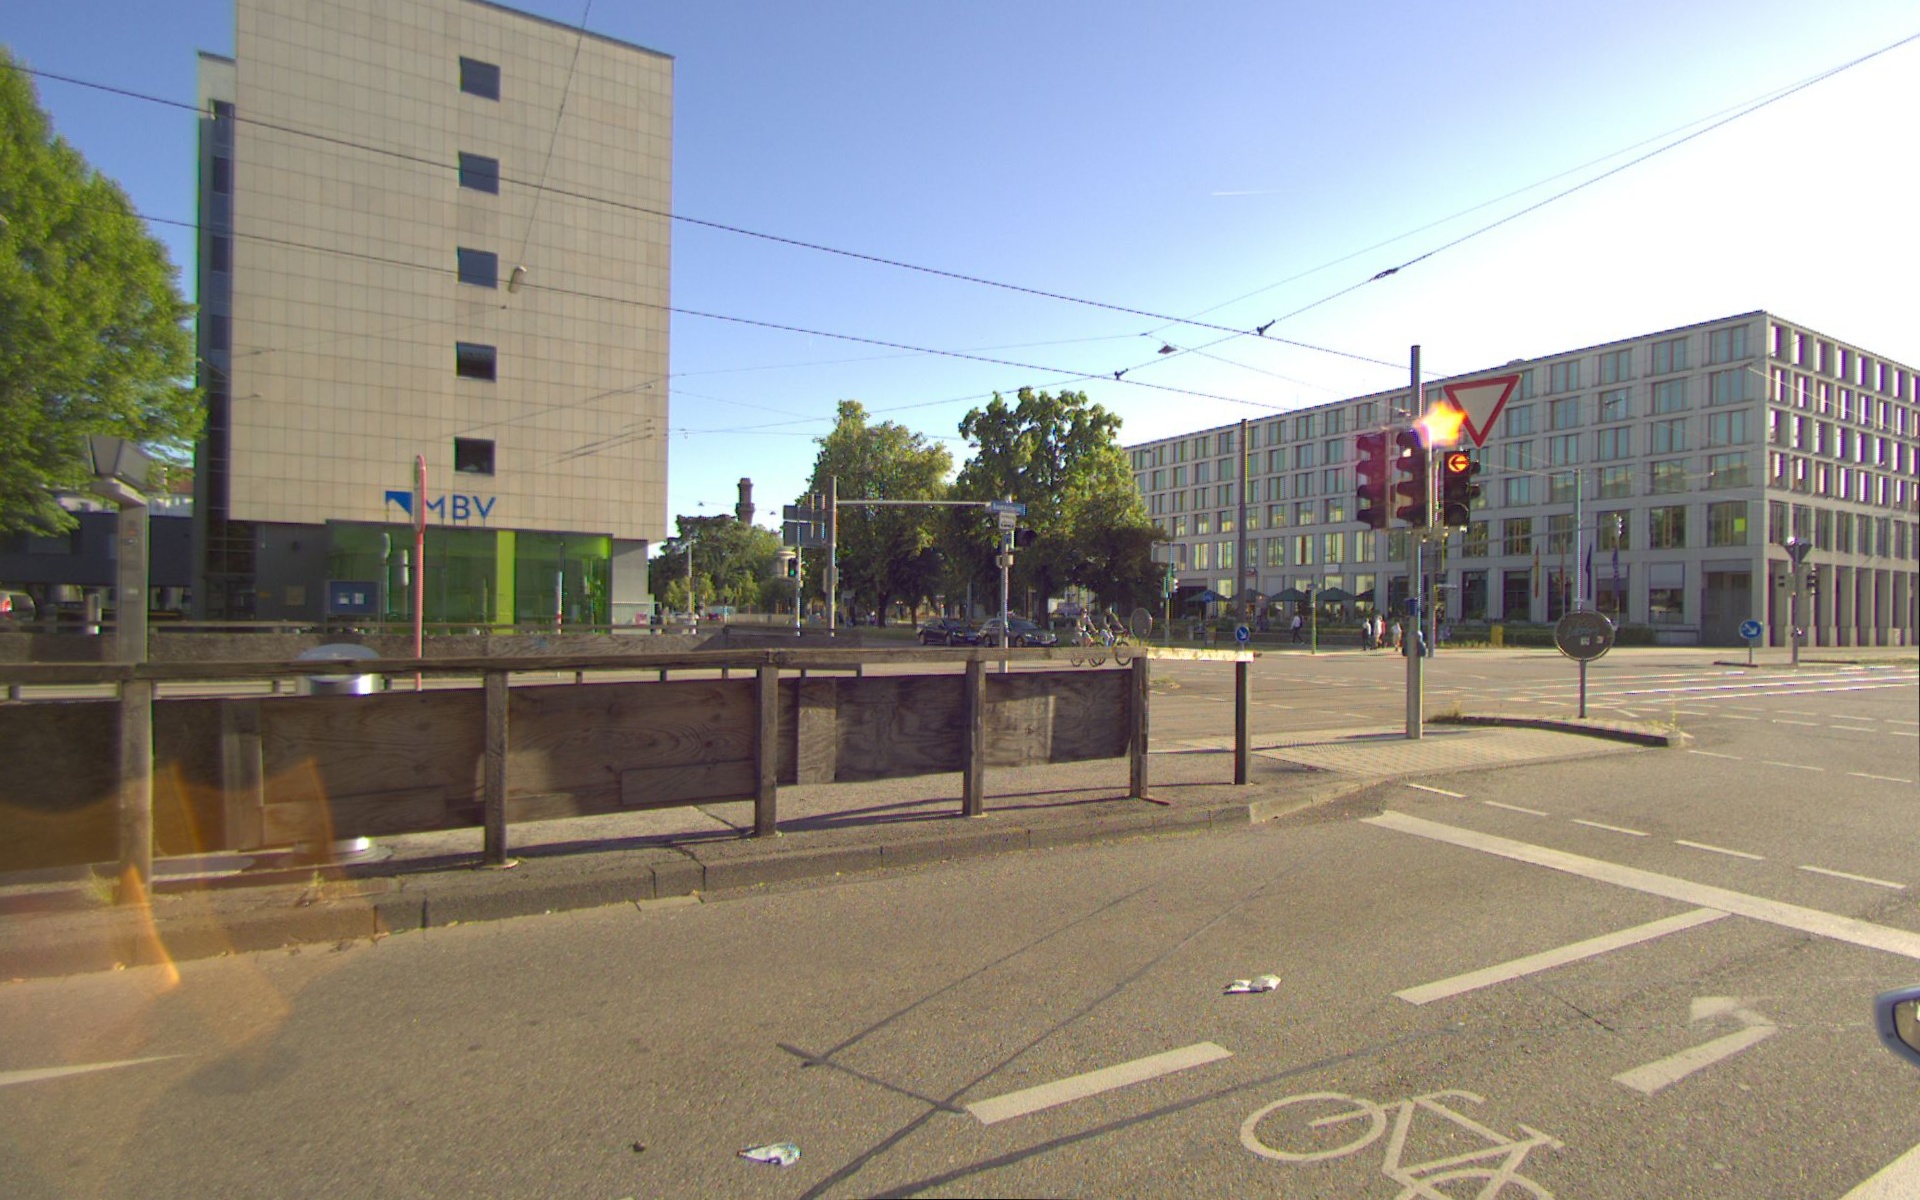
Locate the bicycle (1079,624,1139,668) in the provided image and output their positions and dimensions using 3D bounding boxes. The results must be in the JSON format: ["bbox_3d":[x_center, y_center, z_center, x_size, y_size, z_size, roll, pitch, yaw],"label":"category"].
[{"bbox_3d":[4.620,1.423,31.362,0.783,1.308,1.975,1,-1,-31],"label":"bicycle"}]

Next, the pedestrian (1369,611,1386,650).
[{"bbox_3d":[22.233,1.619,53.483,0.793,2.040,0.526,1,-1,-36],"label":"pedestrian"}]

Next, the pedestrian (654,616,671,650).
[{"bbox_3d":[-13.748,1.536,46.391,0.593,1.561,0.620,1,-1,-32],"label":"pedestrian"}]

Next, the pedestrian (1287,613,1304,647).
[{"bbox_3d":[18.899,1.692,56.575,0.672,1.928,0.560,1,-1,-21],"label":"pedestrian"}]

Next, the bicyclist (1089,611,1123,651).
[{"bbox_3d":[4.579,0.960,31.474,0.788,1.235,0.717,1,-1,-31],"label":"bicyclist"}]

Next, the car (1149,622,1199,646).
[{"bbox_3d":[13.479,2.138,63.373,1.452,1.457,3.173,1,-1,-27],"label":"car"}]

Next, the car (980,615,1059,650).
[{"bbox_3d":[2.753,1.507,47.498,1.708,1.595,4.140,1,-1,-31],"label":"car"}]

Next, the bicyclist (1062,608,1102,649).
[{"bbox_3d":[3.741,0.871,30.808,0.788,1.235,0.920,1,-1,-33],"label":"bicyclist"}]

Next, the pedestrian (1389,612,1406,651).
[{"bbox_3d":[22.794,1.637,52.328,0.793,2.040,0.526,1,-1,-36],"label":"pedestrian"}]

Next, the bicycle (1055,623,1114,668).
[{"bbox_3d":[3.794,1.384,30.723,0.783,1.308,1.840,1,-1,-33],"label":"bicycle"}]

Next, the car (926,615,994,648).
[{"bbox_3d":[-0.032,1.606,52.412,1.801,1.595,3.967,0,0,-31],"label":"car"}]

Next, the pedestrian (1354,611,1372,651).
[{"bbox_3d":[21.115,1.617,52.607,0.793,2.040,0.526,1,-1,-36],"label":"pedestrian"}]

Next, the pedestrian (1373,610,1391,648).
[{"bbox_3d":[22.824,1.582,54.308,0.793,2.040,0.526,1,-1,-36],"label":"pedestrian"}]
